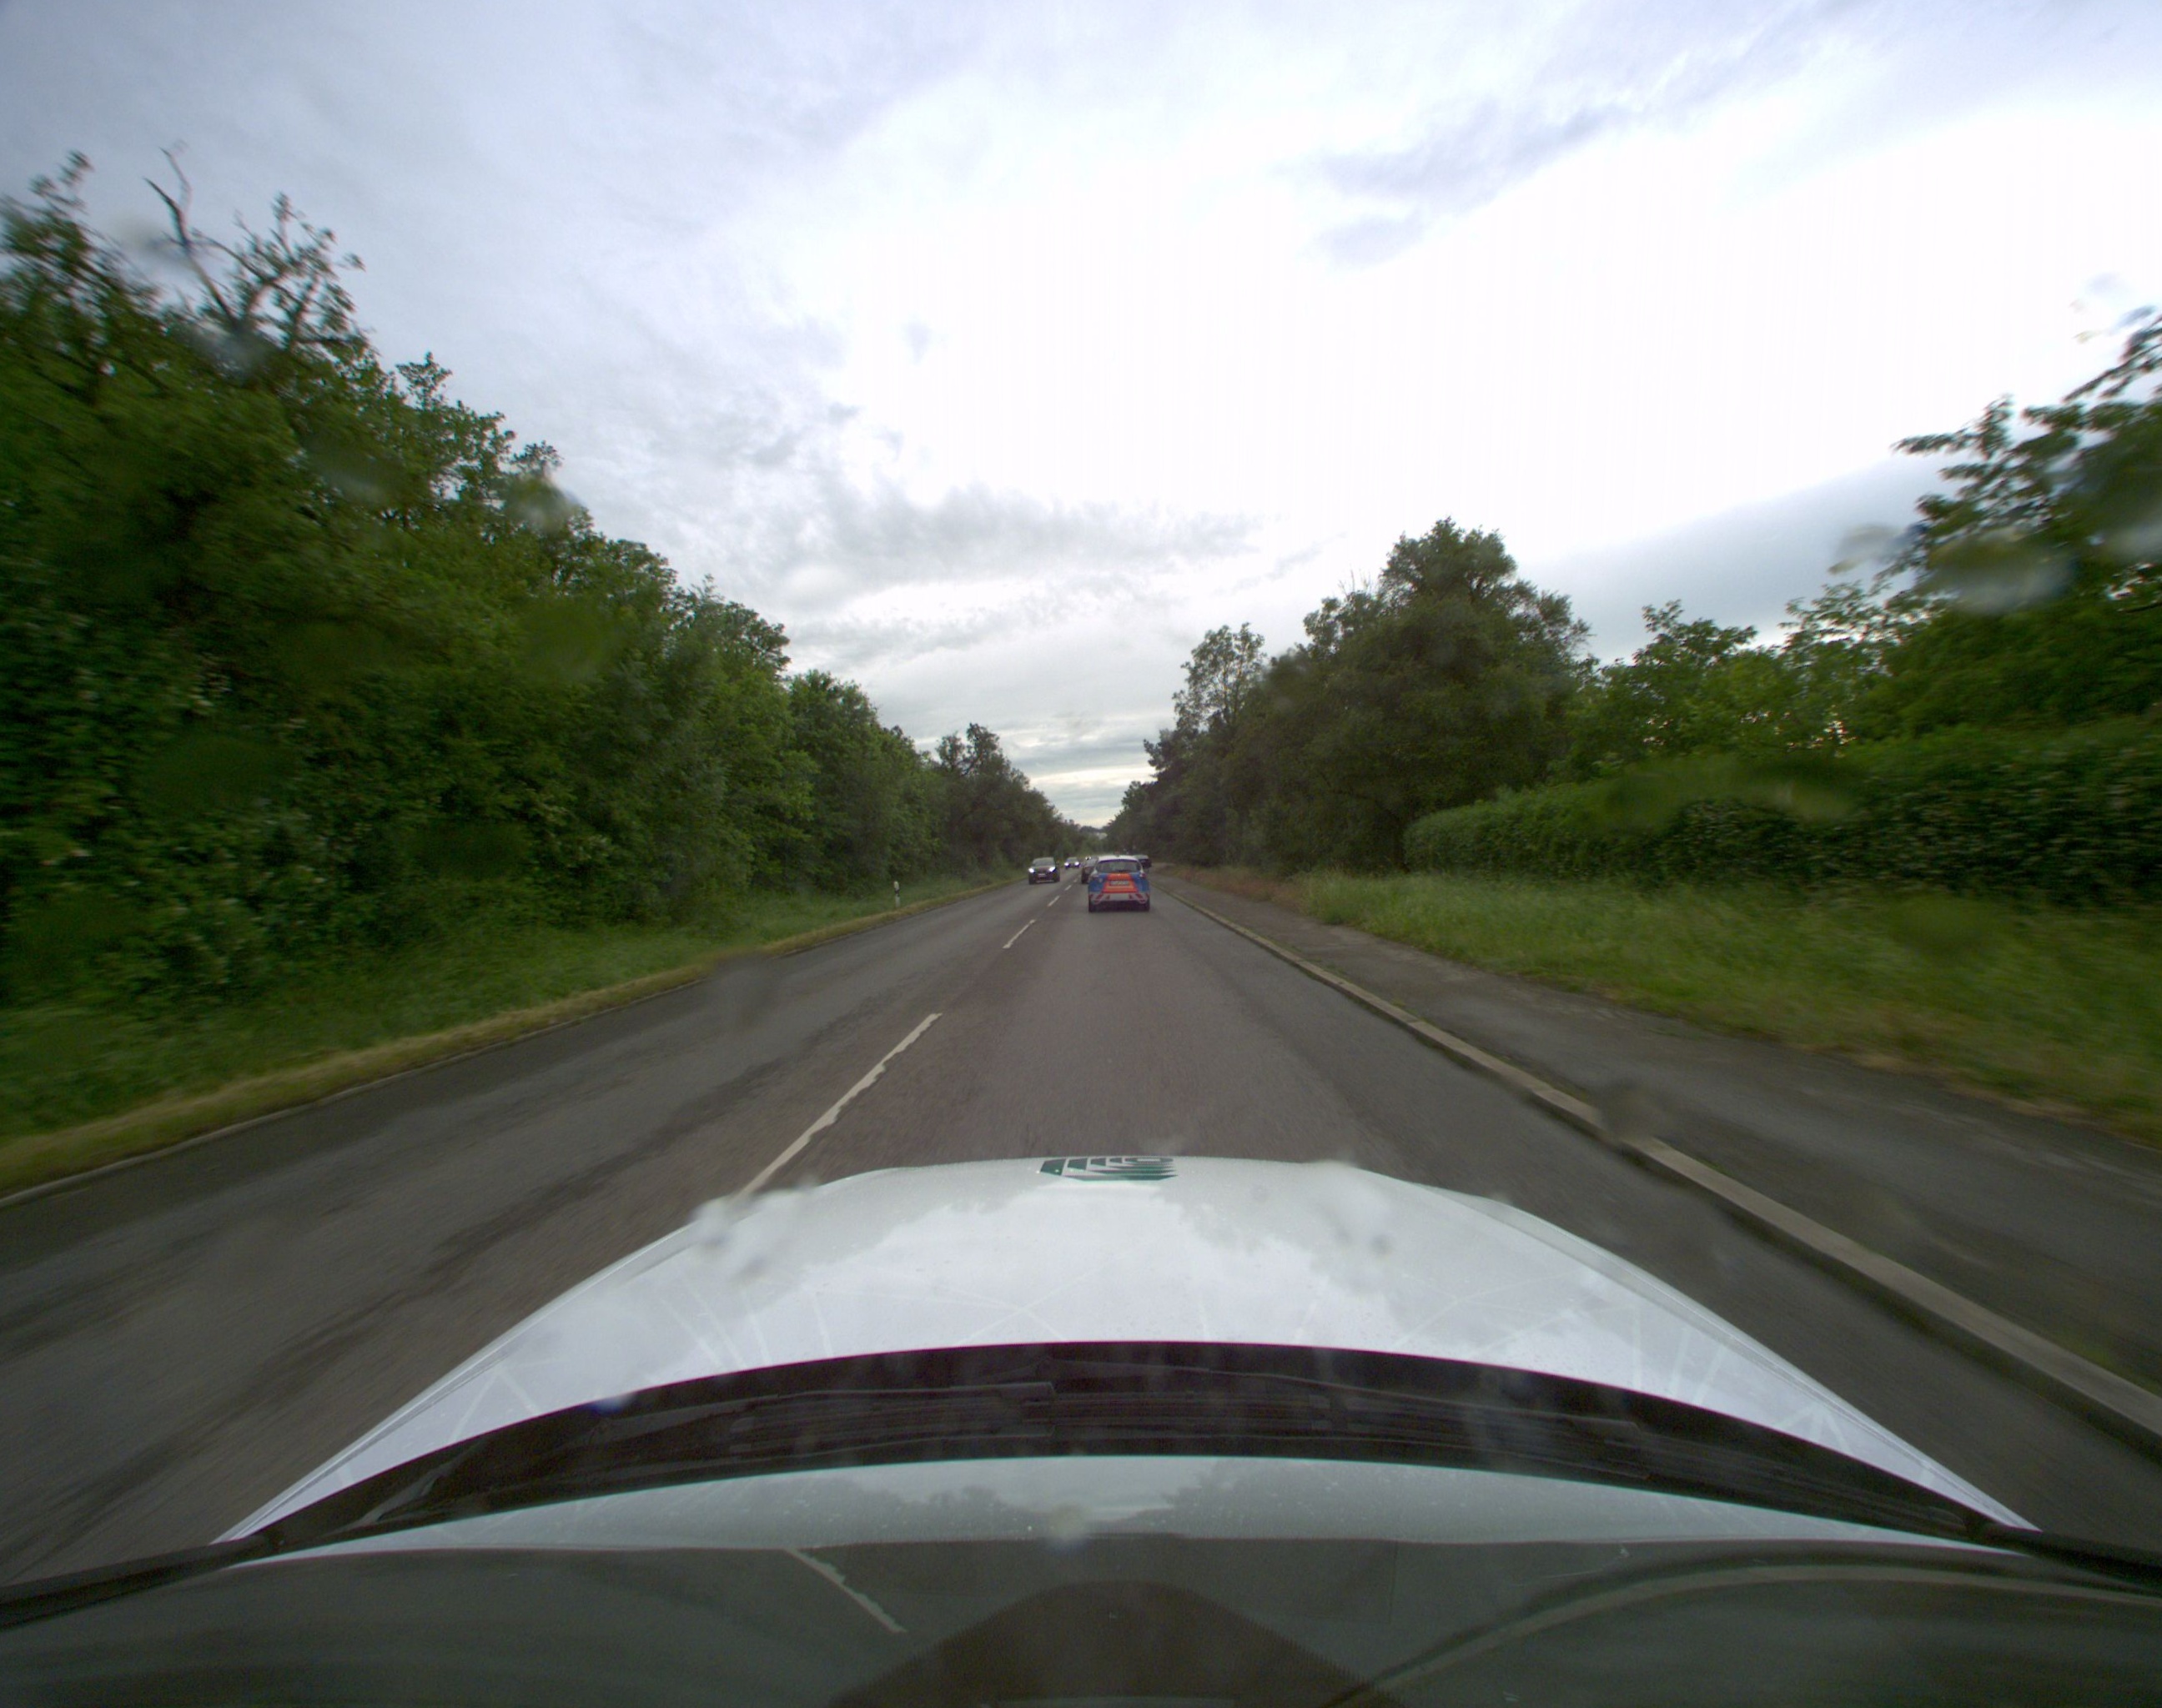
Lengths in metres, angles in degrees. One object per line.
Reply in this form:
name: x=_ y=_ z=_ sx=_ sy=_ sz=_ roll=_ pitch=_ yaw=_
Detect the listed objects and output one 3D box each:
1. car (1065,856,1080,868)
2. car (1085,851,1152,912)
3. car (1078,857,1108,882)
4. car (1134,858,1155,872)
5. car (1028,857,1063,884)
car: x=-1.028 y=0.978 z=104.105 sx=1.705 sy=1.399 sz=4.150 roll=-4 pitch=0 yaw=1
car: x=1.046 y=0.721 z=23.732 sx=1.746 sy=1.555 sz=3.793 roll=-1 pitch=1 yaw=1
car: x=0.732 y=0.841 z=46.651 sx=1.592 sy=1.287 sz=3.478 roll=-3 pitch=0 yaw=2
car: x=6.618 y=1.142 z=85.845 sx=1.986 sy=1.376 sz=4.002 roll=-3 pitch=0 yaw=2
car: x=-2.249 y=1.024 z=52.784 sx=1.898 sy=1.556 sz=4.517 roll=-3 pitch=0 yaw=1
